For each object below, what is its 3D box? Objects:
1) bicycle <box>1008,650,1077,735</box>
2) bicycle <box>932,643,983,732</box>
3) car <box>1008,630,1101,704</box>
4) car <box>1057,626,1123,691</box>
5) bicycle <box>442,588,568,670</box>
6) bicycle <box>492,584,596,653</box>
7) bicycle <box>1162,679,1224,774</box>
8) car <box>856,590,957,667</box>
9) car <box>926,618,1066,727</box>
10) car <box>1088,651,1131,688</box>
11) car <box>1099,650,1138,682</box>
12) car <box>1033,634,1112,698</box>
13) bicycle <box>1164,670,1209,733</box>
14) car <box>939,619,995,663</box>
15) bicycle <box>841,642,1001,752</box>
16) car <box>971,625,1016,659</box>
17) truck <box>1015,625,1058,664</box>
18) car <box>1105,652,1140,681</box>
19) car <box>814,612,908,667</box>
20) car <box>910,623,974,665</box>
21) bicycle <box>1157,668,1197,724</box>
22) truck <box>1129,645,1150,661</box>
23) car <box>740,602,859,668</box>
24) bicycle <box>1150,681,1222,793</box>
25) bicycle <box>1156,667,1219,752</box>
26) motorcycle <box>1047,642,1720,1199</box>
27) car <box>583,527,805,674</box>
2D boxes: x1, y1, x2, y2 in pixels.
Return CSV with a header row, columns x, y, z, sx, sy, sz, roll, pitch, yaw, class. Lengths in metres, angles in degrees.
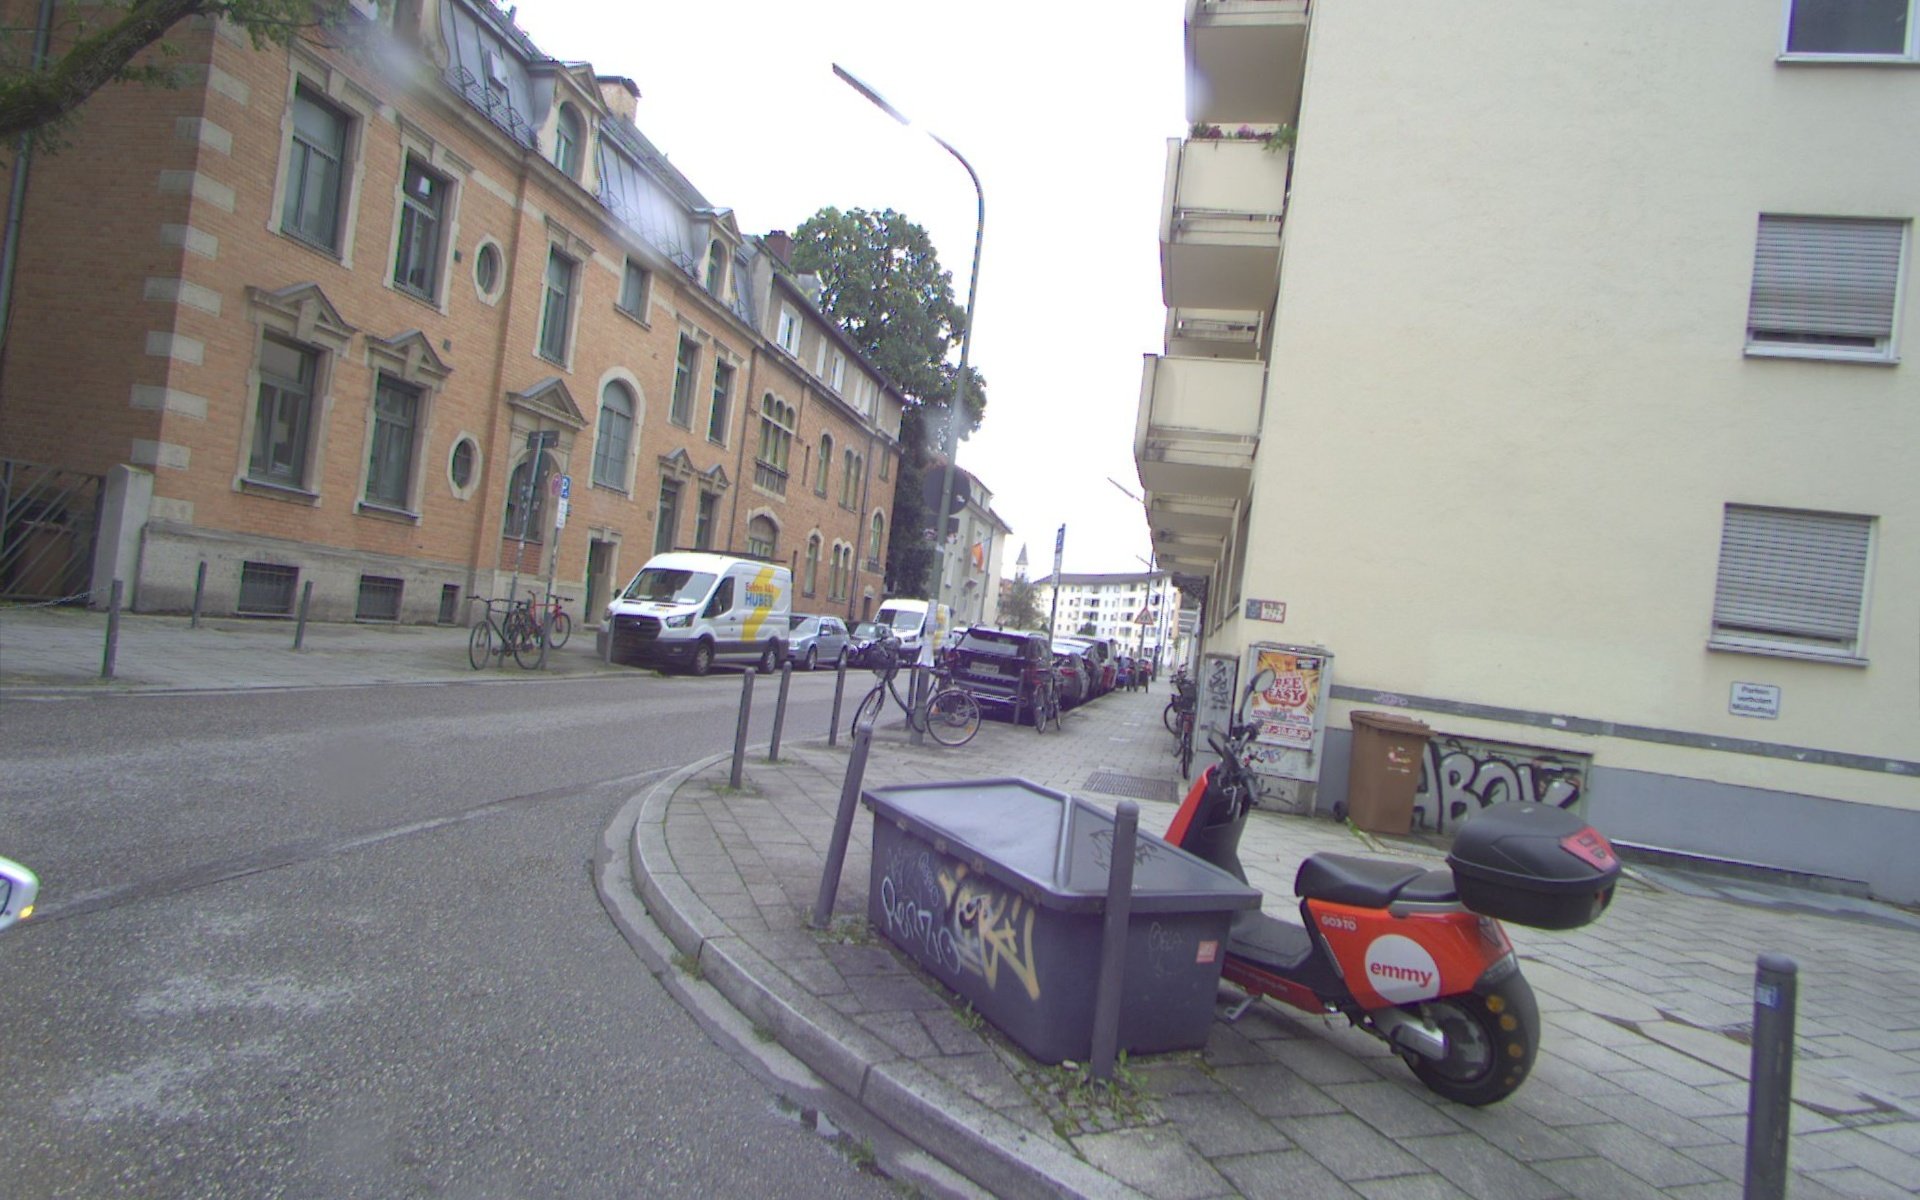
x,y,z,sx,sy,sz,roll,pitch,yaw,class
1.321,1.428,15.692,0.570,1.167,1.965,6,-2,16,bicycle
-0.038,1.251,14.876,0.571,1.167,1.964,7,-2,0,bicycle
2.491,1.696,25.537,1.700,1.476,4.422,8,-2,12,car
4.771,2.146,36.460,1.840,1.990,4.824,7,-2,12,car
-6.609,0.457,14.720,0.570,1.066,1.765,6,-2,16,bicycle
-7.537,0.363,18.326,0.570,1.066,1.897,8,-2,16,bicycle
3.034,1.592,12.997,0.570,1.066,1.765,6,-2,16,bicycle
-1.842,1.141,36.969,2.103,2.376,5.377,7,-2,13,car
0.841,1.398,19.587,1.820,1.657,4.556,7,-2,12,car
6.970,3.221,46.538,1.583,1.450,3.624,7,-2,13,car
8.509,3.542,53.707,1.623,1.450,4.006,7,-2,14,car
3.494,2.006,30.478,1.830,1.569,4.760,7,-2,12,car
4.349,1.937,19.434,0.570,1.066,1.840,7,-2,8,bicycle
0.365,1.973,47.226,1.792,1.730,4.006,7,-2,10,car
-0.492,1.156,12.141,1.733,1.078,0.775,7,-2,-10,bicycle
1.849,2.282,53.806,1.816,1.557,4.006,7,-2,9,car
5.417,3.178,70.479,1.962,2.345,5.417,7,-2,13,truck
9.696,3.953,59.716,1.623,1.450,4.006,7,-2,14,car
-3.042,1.287,31.686,1.671,1.448,3.835,6,-2,13,car
-0.701,1.896,42.299,1.716,1.461,4.006,7,-2,12,car
4.625,2.019,21.487,0.570,1.066,1.765,7,-2,8,bicycle
28.977,8.551,162.444,2.191,2.328,5.291,5,-1,-2,truck
-4.136,0.982,26.646,1.662,1.471,4.002,5,-2,13,car
2.540,1.472,11.178,0.570,1.066,1.765,6,-2,16,bicycle
3.664,1.742,16.355,0.676,1.220,1.765,7,-2,7,bicycle
1.441,0.965,3.772,0.813,1.371,2.059,8,-2,-44,motorcycle
-5.239,0.180,20.874,1.960,2.496,5.479,5,-3,13,car
